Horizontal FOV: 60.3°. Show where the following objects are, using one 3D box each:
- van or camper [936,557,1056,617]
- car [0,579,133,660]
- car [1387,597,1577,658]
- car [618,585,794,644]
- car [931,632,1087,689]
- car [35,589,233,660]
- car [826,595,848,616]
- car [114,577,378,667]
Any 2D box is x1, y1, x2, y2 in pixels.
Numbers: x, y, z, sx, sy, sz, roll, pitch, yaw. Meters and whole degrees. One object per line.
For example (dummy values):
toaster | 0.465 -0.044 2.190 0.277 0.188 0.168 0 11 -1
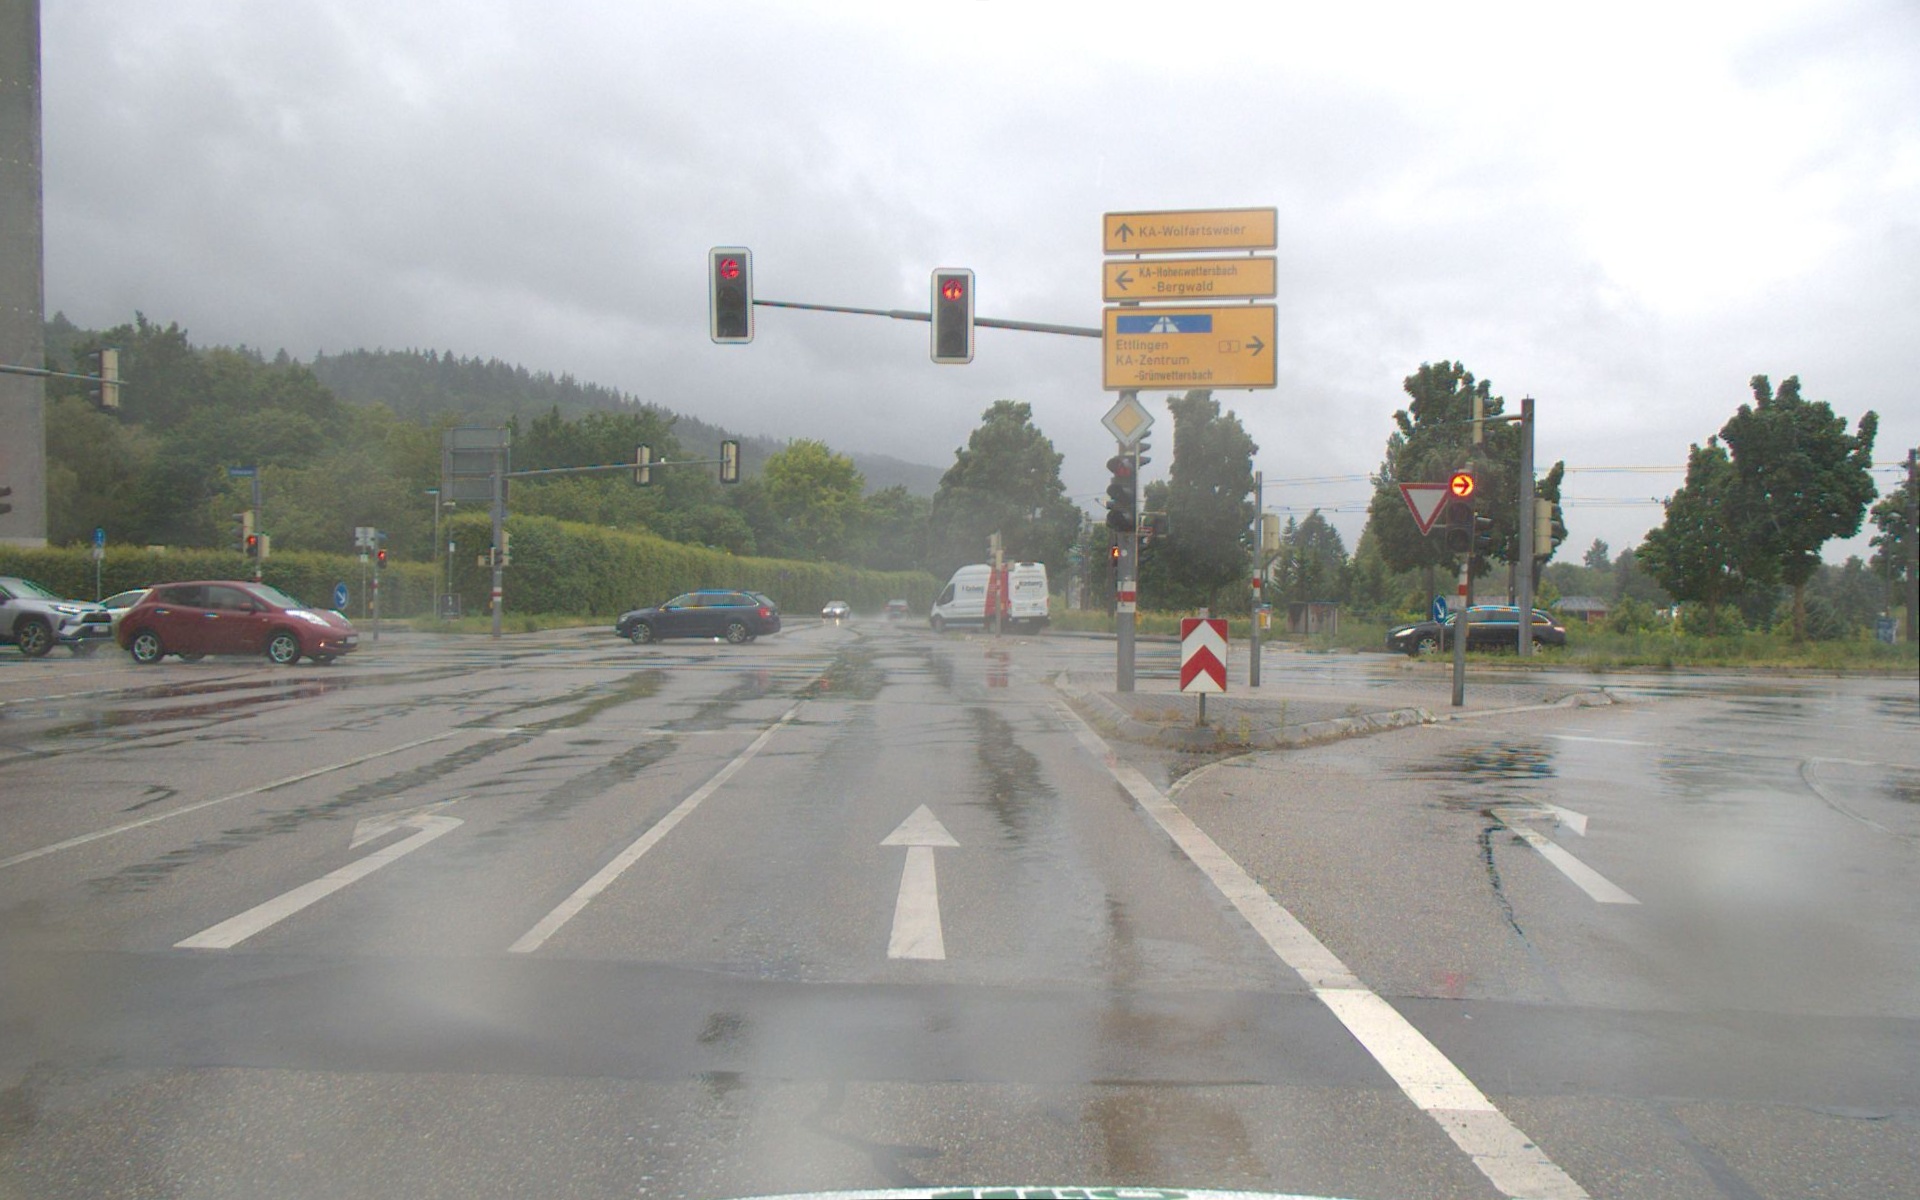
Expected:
van or camper | 1.323 -0.501 63.071 2.136 2.207 4.804 0 1 -36
car | -20.494 0.377 35.633 4.431 1.607 1.914 2 1 6
car | 14.016 0.721 44.626 4.572 1.580 1.823 0 0 2
car | -7.036 0.389 46.128 4.572 1.580 1.823 0 0 2
car | 1.466 1.787 49.287 4.572 1.580 1.823 0 0 2
car | -23.153 0.672 46.505 4.582 1.949 1.912 0 0 -8
car | -9.649 0.420 129.669 1.527 1.507 3.360 1 1 -2
car | -13.551 0.401 31.539 4.283 1.607 1.733 1 0 4
